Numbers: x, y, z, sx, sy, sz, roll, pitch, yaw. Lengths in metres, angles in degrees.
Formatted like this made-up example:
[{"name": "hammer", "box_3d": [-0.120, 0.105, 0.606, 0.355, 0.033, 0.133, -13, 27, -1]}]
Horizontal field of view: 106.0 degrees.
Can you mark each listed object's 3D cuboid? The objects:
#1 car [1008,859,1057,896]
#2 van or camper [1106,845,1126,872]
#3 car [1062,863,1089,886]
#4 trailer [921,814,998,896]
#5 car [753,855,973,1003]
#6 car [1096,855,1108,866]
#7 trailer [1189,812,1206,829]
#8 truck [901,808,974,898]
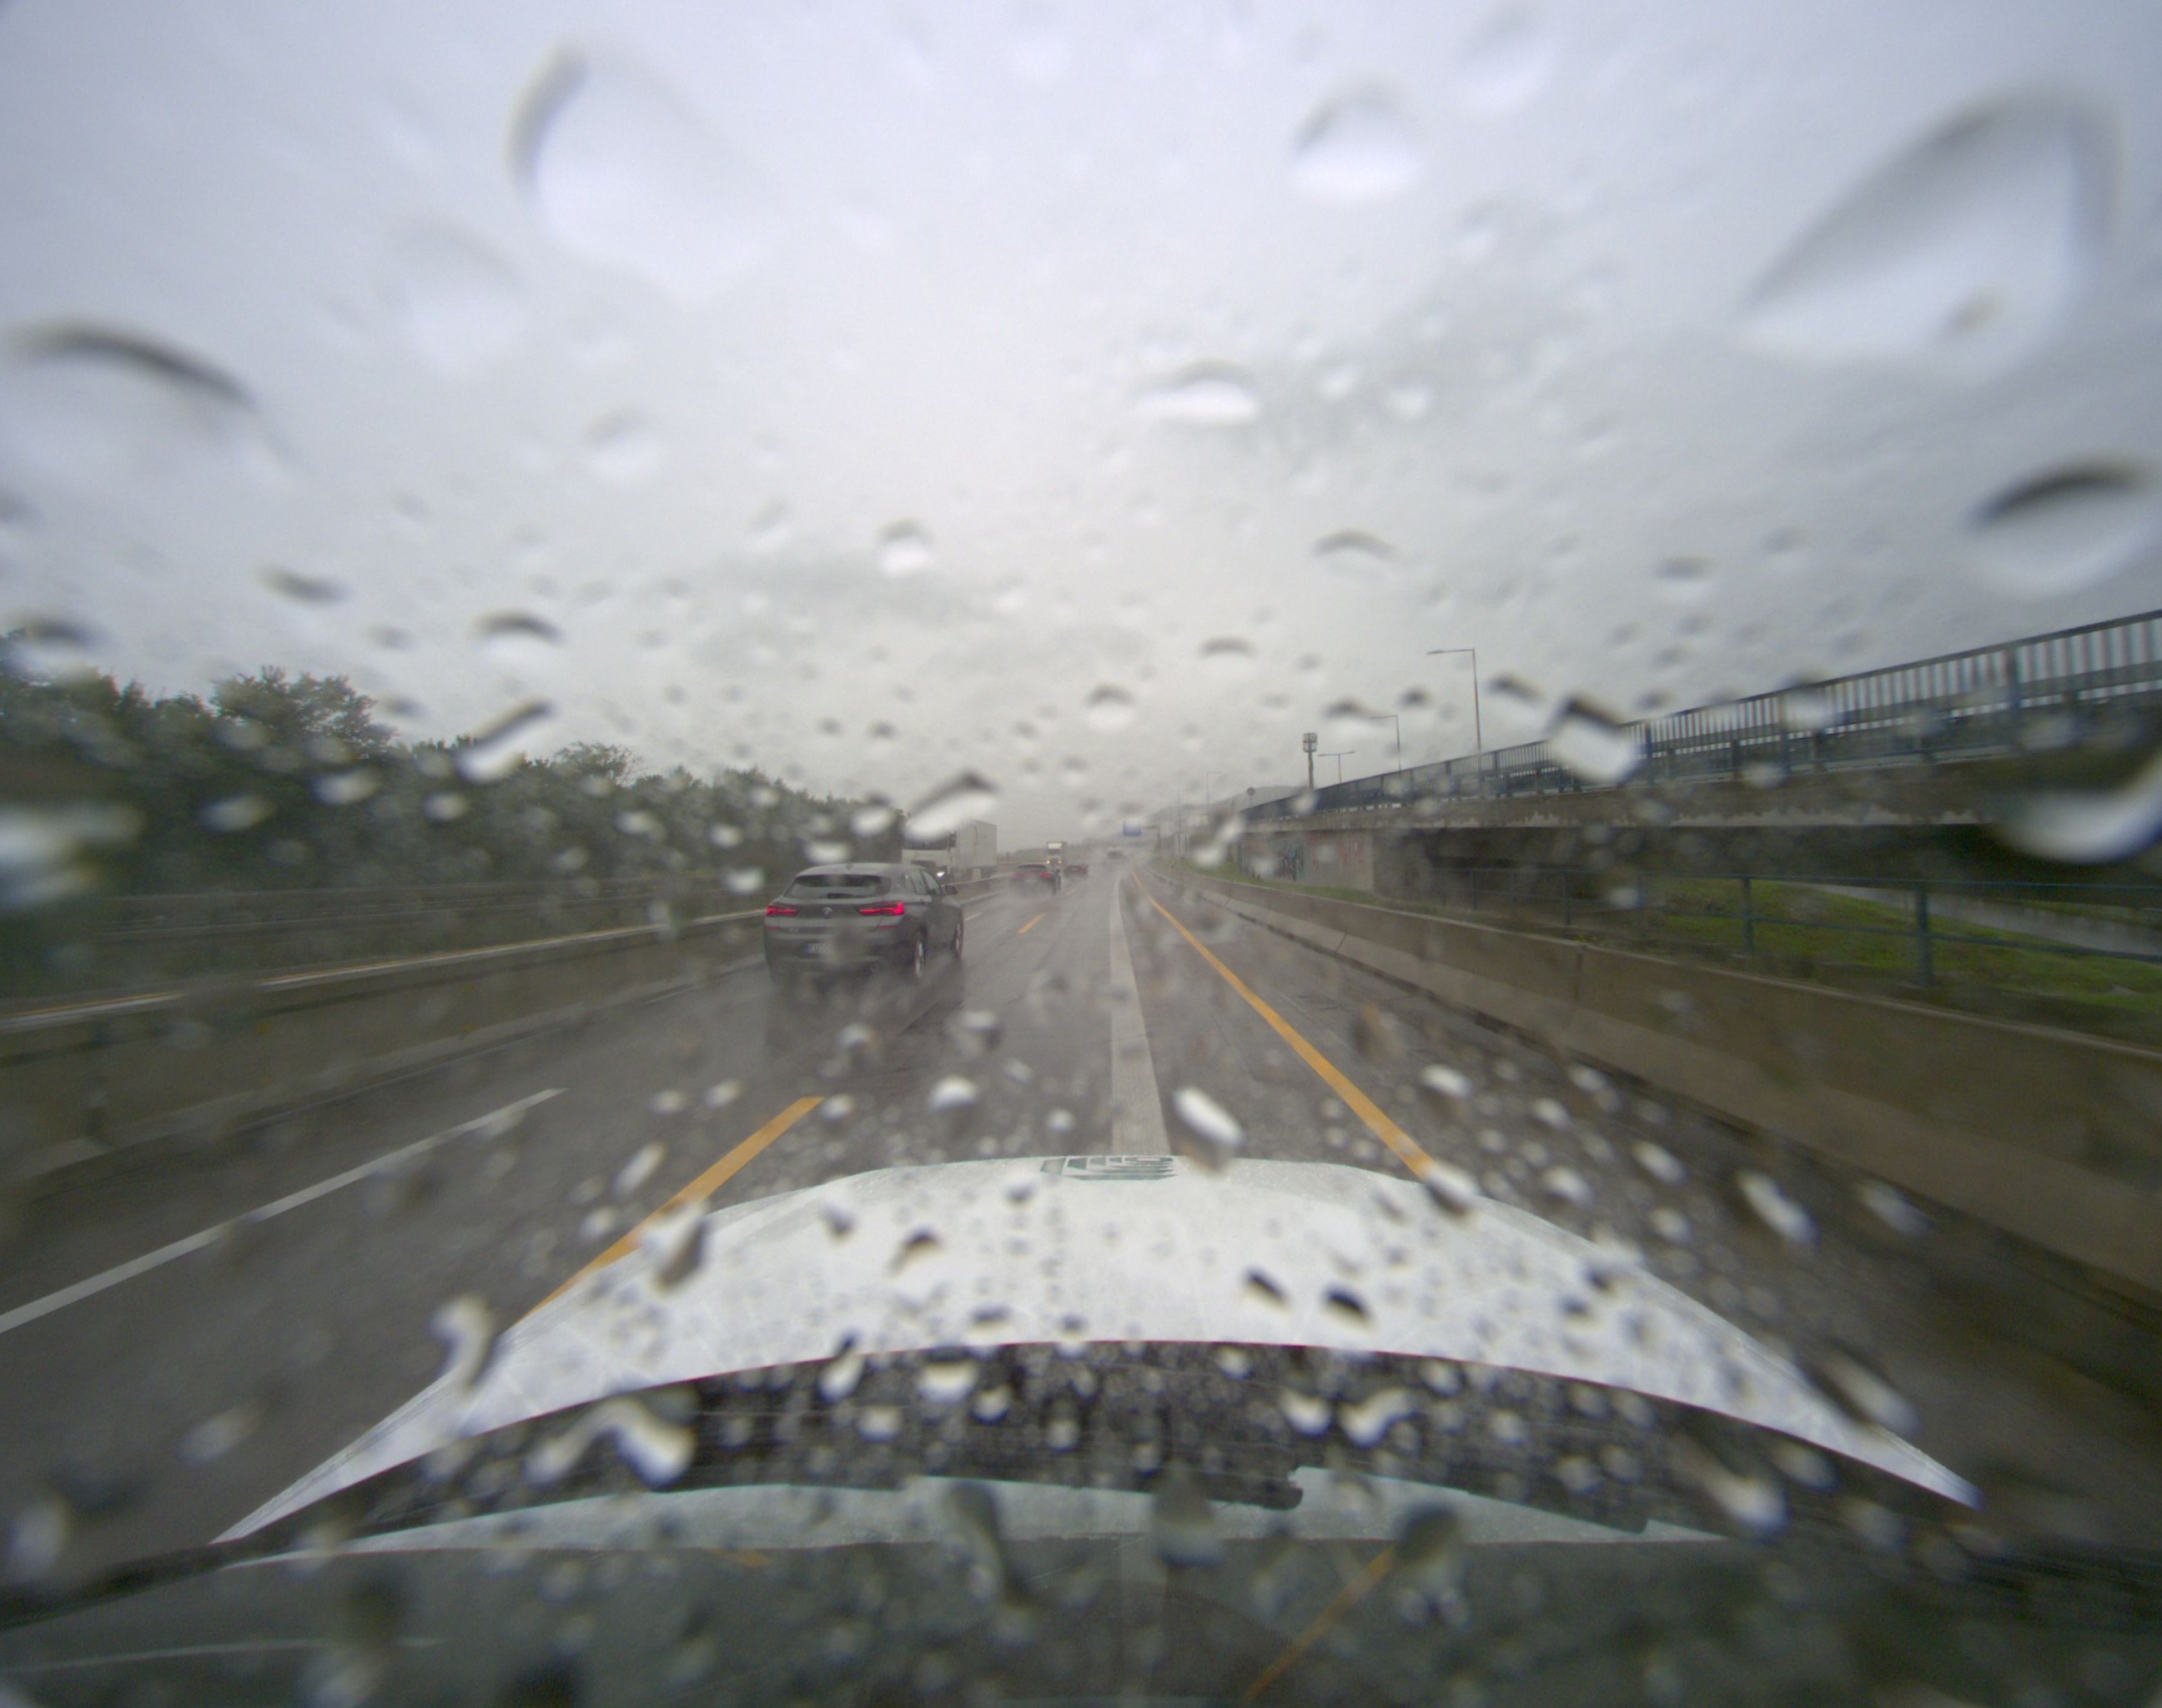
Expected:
[{"name": "car", "box_3d": [-2.074, 1.022, 35.748, 1.838, 1.491, 4.261, -1, -1, 1]}, {"name": "van or camper", "box_3d": [3.679, 0.545, 86.013, 1.989, 2.777, 4.049, -1, -1, 1]}, {"name": "car", "box_3d": [-0.380, 1.525, 61.528, 1.838, 1.491, 4.262, -3, 0, 1]}, {"name": "trailer", "box_3d": [-7.461, 0.163, 51.686, 2.537, 4.590, 12.015, -1, -1, 2]}, {"name": "car", "box_3d": [-2.712, 0.870, 11.362, 1.695, 1.598, 4.845, -1, -1, 1]}, {"name": "car", "box_3d": [3.027, 0.969, 116.750, 1.561, 1.480, 2.821, -3, -2, 1]}, {"name": "trailer", "box_3d": [20.248, -5.788, 142.040, 1.984, 2.106, 13.783, -1, -1, 4]}, {"name": "truck", "box_3d": [-7.776, 0.013, 44.824, 2.549, 4.603, 6.456, -1, -1, 3]}]
